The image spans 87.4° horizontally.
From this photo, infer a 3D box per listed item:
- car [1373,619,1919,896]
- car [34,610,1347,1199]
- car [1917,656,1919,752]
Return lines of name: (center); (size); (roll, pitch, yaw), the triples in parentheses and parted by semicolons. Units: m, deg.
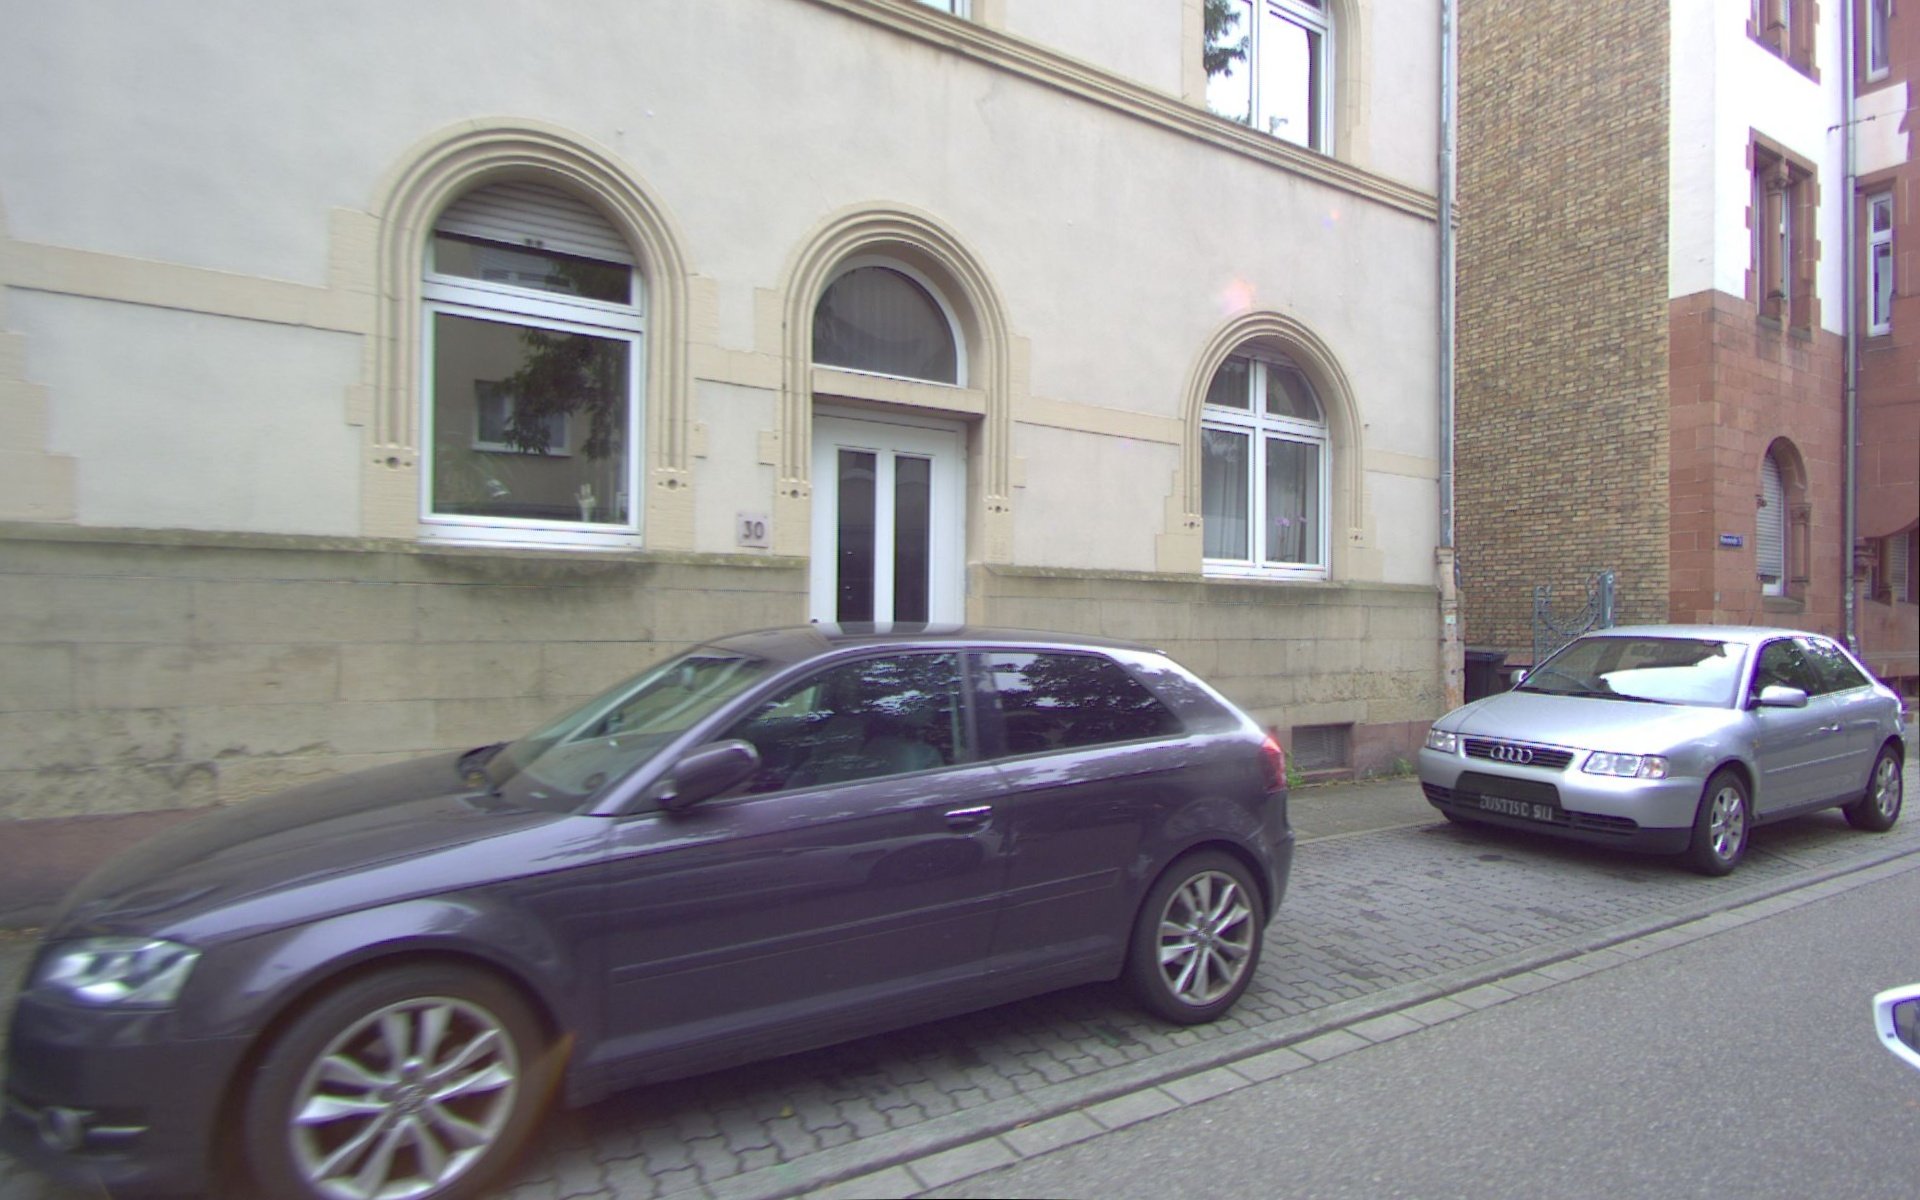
car: (4.980, 0.878, 7.097); (4.089, 1.405, 1.717); (1, 0, -31)
car: (-0.575, 0.762, 3.714); (3.883, 1.405, 1.717); (0, 1, -31)
car: (12.806, 1.024, 11.538); (3.884, 1.440, 1.654); (1, 0, -31)
